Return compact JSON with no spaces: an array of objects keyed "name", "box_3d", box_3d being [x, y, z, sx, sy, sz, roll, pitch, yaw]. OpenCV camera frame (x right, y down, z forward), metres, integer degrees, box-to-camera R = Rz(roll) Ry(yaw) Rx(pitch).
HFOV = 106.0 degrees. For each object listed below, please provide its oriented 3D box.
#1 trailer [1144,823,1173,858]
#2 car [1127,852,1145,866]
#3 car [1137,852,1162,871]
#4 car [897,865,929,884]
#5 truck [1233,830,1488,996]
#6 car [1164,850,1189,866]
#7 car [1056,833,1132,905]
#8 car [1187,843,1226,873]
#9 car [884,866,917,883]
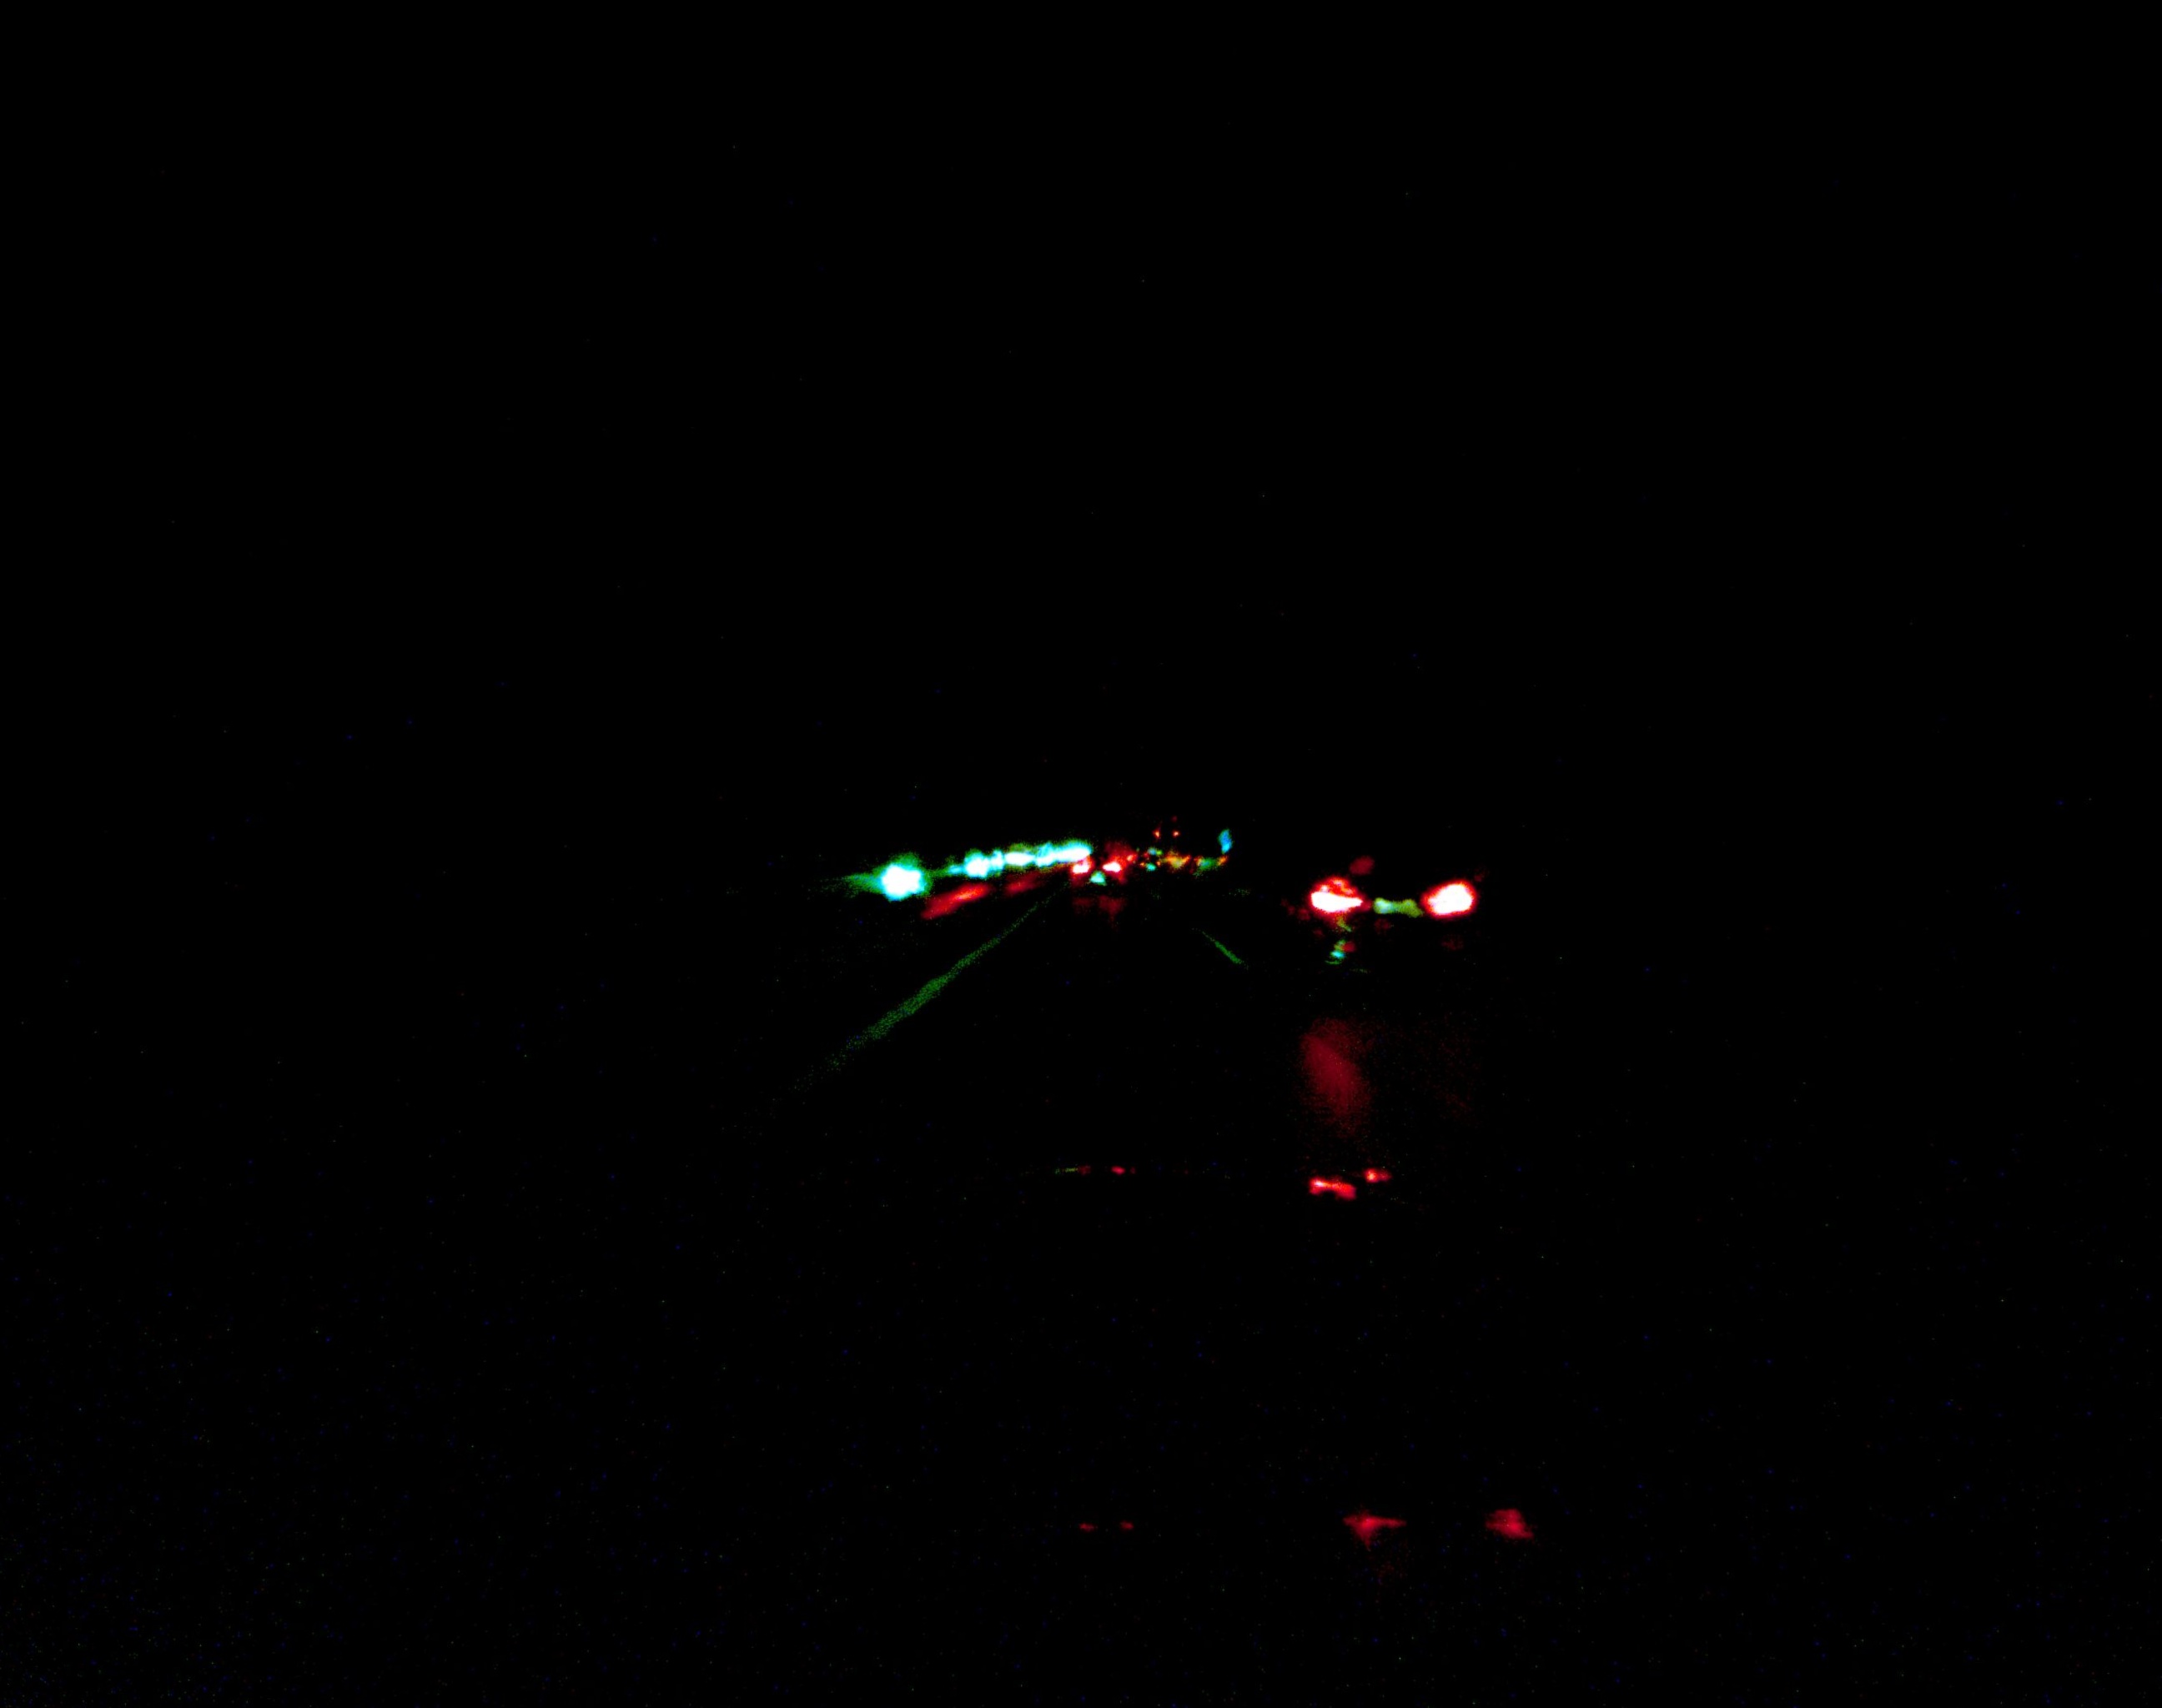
[{"name":"trailer","box_3d":[9.909,-1.684,105.393,2.793,4.212,12.099,-1,0,1]},{"name":"car","box_3d":[6.137,0.545,91.240,1.877,1.588,4.001,-1,0,1]},{"name":"car","box_3d":[5.198,0.576,62.550,1.607,1.412,3.792,-1,0,0]},{"name":"car","box_3d":[-14.419,1.701,69.912,1.777,1.422,4.352,-4,0,0]},{"name":"truck","box_3d":[3.327,0.611,10.806,1.837,1.696,4.856,0,0,2]},{"name":"car","box_3d":[9.453,0.405,80.864,1.888,1.486,4.962,-1,1,0]},{"name":"car","box_3d":[0.490,0.544,33.383,2.701,2.533,5.830,-3,0,0]},{"name":"car","box_3d":[8.983,0.246,58.737,2.038,1.974,5.410,-3,1,2]},{"name":"car","box_3d":[-18.246,2.024,82.588,1.885,1.583,5.375,-1,0,3]}]
